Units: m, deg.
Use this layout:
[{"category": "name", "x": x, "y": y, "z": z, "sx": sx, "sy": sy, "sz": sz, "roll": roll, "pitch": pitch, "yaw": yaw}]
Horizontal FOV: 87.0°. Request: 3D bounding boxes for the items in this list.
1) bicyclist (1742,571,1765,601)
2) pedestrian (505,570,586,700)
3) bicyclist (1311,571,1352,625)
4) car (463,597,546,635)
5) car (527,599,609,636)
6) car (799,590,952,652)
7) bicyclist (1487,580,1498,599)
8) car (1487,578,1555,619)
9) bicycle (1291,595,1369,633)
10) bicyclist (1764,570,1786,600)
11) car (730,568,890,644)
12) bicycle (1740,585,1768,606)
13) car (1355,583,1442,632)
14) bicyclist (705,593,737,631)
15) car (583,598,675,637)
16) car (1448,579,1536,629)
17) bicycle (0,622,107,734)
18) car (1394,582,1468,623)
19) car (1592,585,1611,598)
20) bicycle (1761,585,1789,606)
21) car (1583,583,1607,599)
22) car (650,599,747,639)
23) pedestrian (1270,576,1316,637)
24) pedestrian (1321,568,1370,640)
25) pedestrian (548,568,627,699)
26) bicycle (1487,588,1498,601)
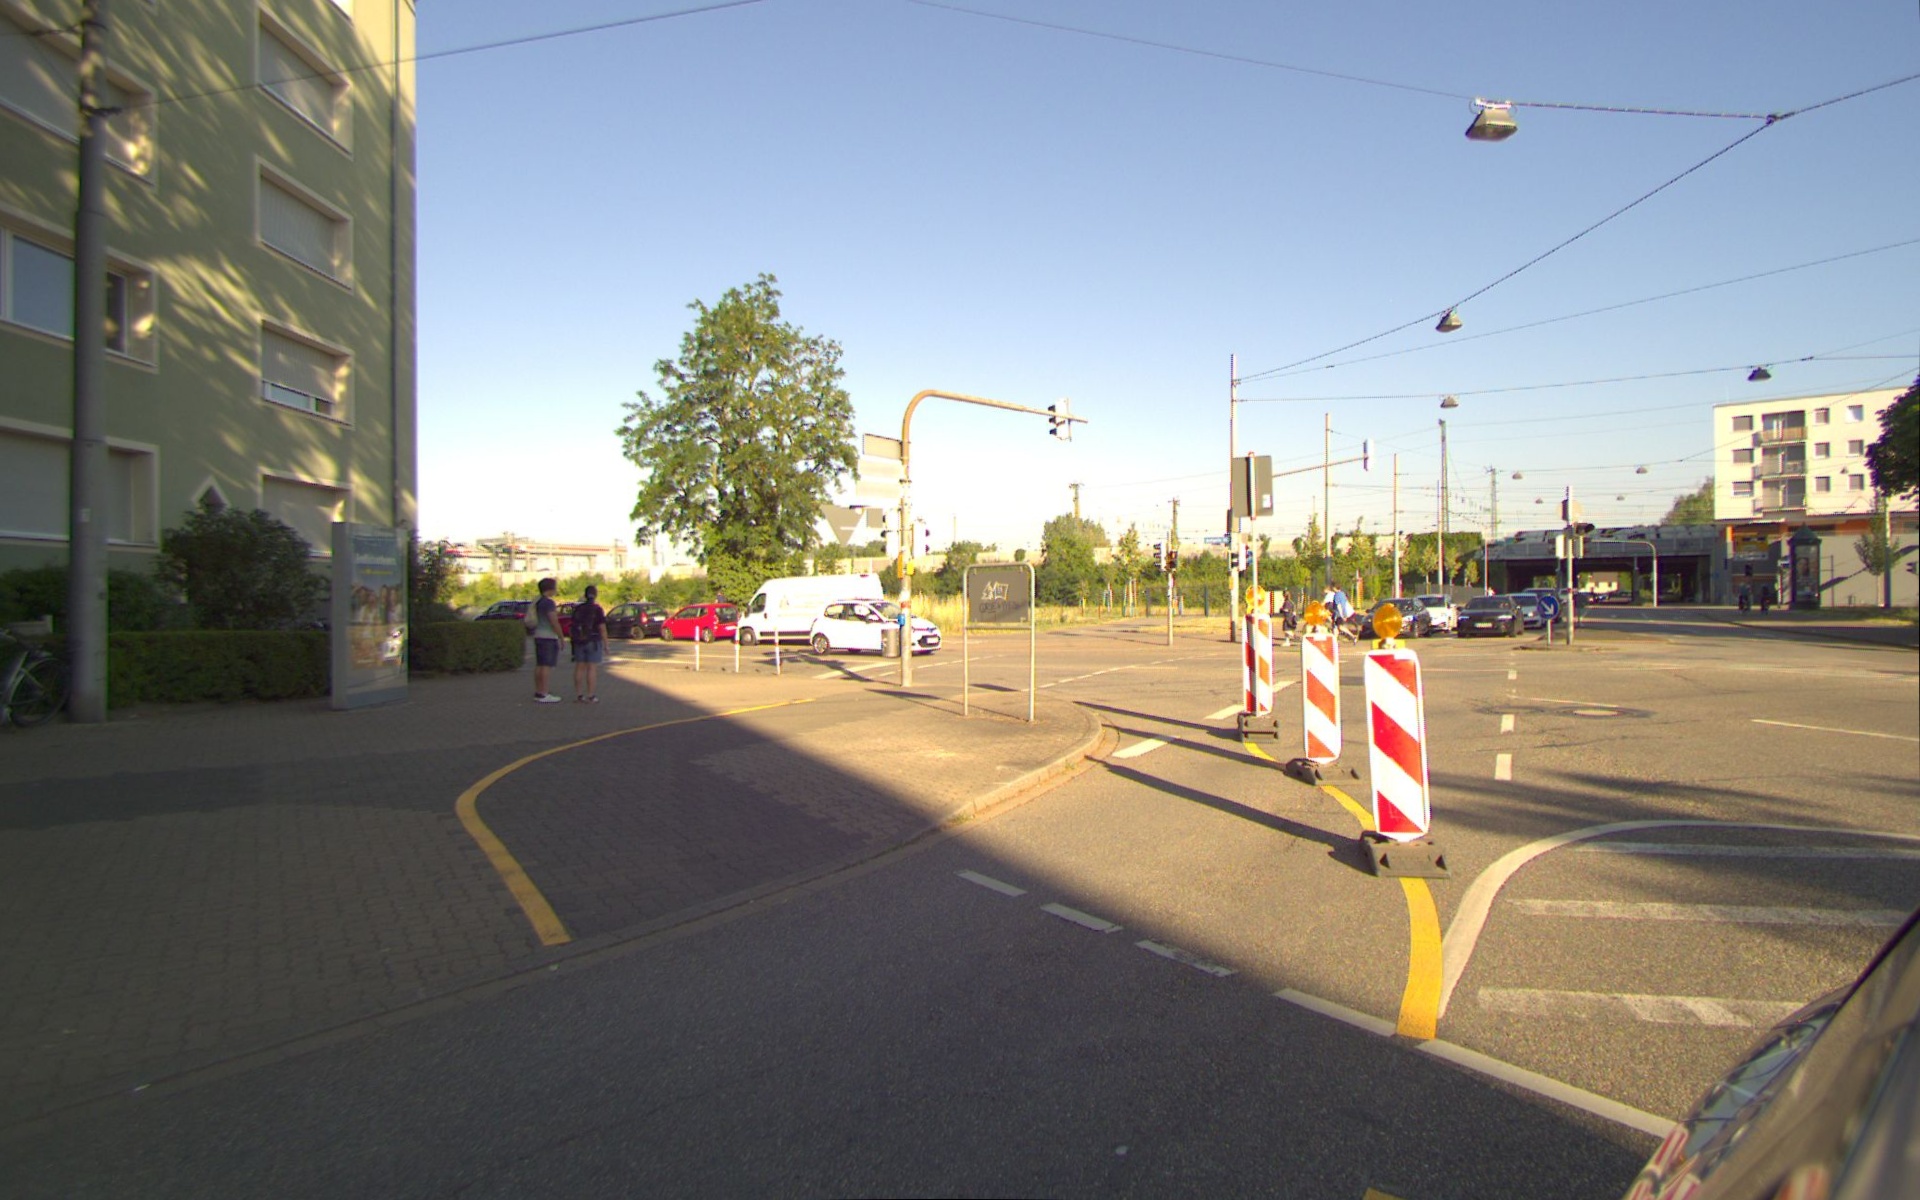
[{"category": "bicyclist", "x": 42.197, "y": -0.736, "z": 53.820, "sx": 0.690, "sy": 1.551, "sz": 1.029, "roll": -1, "pitch": 0, "yaw": 24}, {"category": "pedestrian", "x": -5.888, "y": 0.479, "z": 14.398, "sx": 0.685, "sy": 1.772, "sz": 0.789, "roll": -1, "pitch": 0, "yaw": 23}, {"category": "bicyclist", "x": 11.642, "y": -0.068, "z": 31.735, "sx": 1.035, "sy": 1.650, "sz": 0.704, "roll": -1, "pitch": 0, "yaw": 36}, {"category": "car", "x": -21.402, "y": 0.750, "z": 47.527, "sx": 3.976, "sy": 1.680, "sz": 1.646, "roll": -1, "pitch": 0, "yaw": 33}, {"category": "car", "x": -17.501, "y": 0.771, "z": 45.112, "sx": 3.552, "sy": 1.549, "sz": 1.646, "roll": -1, "pitch": 0, "yaw": 33}, {"category": "car", "x": -2.232, "y": 0.532, "z": 26.546, "sx": 3.746, "sy": 1.487, "sz": 1.686, "roll": -1, "pitch": 0, "yaw": 33}, {"category": "bicyclist", "x": 45.283, "y": -0.868, "z": 85.998, "sx": 0.771, "sy": 1.626, "sz": 0.847, "roll": 0, "pitch": 0, "yaw": 32}, {"category": "car", "x": 23.180, "y": -0.082, "z": 41.771, "sx": 1.987, "sy": 1.586, "sz": 4.400, "roll": -1, "pitch": 0, "yaw": 35}, {"category": "bicycle", "x": 11.610, "y": 0.444, "z": 31.786, "sx": 2.188, "sy": 1.156, "sz": 0.691, "roll": -1, "pitch": 0, "yaw": 37}, {"category": "bicyclist", "x": 43.171, "y": -0.776, "z": 53.623, "sx": 0.654, "sy": 1.551, "sz": 1.028, "roll": -1, "pitch": 0, "yaw": 25}, {"category": "car", "x": -5.455, "y": 0.191, "z": 36.503, "sx": 5.517, "sy": 2.466, "sz": 2.213, "roll": -1, "pitch": 3, "yaw": 32}, {"category": "bicycle", "x": 42.213, "y": -0.266, "z": 53.835, "sx": 0.656, "sy": 1.082, "sz": 2.003, "roll": -1, "pitch": 0, "yaw": 23}, {"category": "car", "x": 15.703, "y": 0.243, "z": 36.131, "sx": 1.987, "sy": 1.587, "sz": 4.221, "roll": -2, "pitch": 0, "yaw": 35}, {"category": "bicyclist", "x": -10.072, "y": 0.496, "z": 42.683, "sx": 1.013, "sy": 1.566, "sz": 0.843, "roll": -1, "pitch": 0, "yaw": 31}, {"category": "car", "x": -13.968, "y": 0.735, "z": 42.682, "sx": 3.788, "sy": 1.549, "sz": 1.726, "roll": -1, "pitch": 0, "yaw": 33}, {"category": "car", "x": 18.521, "y": 0.099, "z": 35.142, "sx": 2.041, "sy": 1.586, "sz": 4.393, "roll": -1, "pitch": 0, "yaw": 37}, {"category": "bicycle", "x": -9.670, "y": 0.787, "z": 10.085, "sx": 0.512, "sy": 1.070, "sz": 1.930, "roll": -1, "pitch": 0, "yaw": 8}, {"category": "car", "x": 19.287, "y": 0.081, "z": 41.352, "sx": 1.987, "sy": 1.586, "sz": 4.221, "roll": -1, "pitch": 0, "yaw": 35}, {"category": "car", "x": 89.588, "y": -1.176, "z": 141.331, "sx": 1.988, "sy": 1.725, "sz": 3.949, "roll": -1, "pitch": 0, "yaw": 36}, {"category": "bicycle", "x": 43.150, "y": -0.228, "z": 53.604, "sx": 0.656, "sy": 1.082, "sz": 2.002, "roll": -1, "pitch": 0, "yaw": 24}, {"category": "car", "x": 68.738, "y": -0.974, "z": 109.588, "sx": 1.984, "sy": 1.725, "sz": 3.957, "roll": -1, "pitch": 0, "yaw": 31}, {"category": "car", "x": -10.394, "y": 0.731, "z": 40.216, "sx": 3.667, "sy": 1.506, "sz": 1.726, "roll": -1, "pitch": 0, "yaw": 33}, {"category": "pedestrian", "x": 9.875, "y": 0.175, "z": 29.972, "sx": 1.061, "sy": 1.769, "sz": 0.903, "roll": -1, "pitch": 0, "yaw": 37}, {"category": "pedestrian", "x": 10.788, "y": 0.106, "z": 28.295, "sx": 1.061, "sy": 1.949, "sz": 0.903, "roll": -1, "pitch": 0, "yaw": 37}, {"category": "pedestrian", "x": -5.206, "y": 0.458, "z": 14.164, "sx": 0.683, "sy": 1.772, "sz": 0.791, "roll": -1, "pitch": 0, "yaw": 15}, {"category": "bicycle", "x": 45.271, "y": -0.471, "z": 85.990, "sx": 0.659, "sy": 1.082, "sz": 1.995, "roll": -1, "pitch": 0, "yaw": 33}]
